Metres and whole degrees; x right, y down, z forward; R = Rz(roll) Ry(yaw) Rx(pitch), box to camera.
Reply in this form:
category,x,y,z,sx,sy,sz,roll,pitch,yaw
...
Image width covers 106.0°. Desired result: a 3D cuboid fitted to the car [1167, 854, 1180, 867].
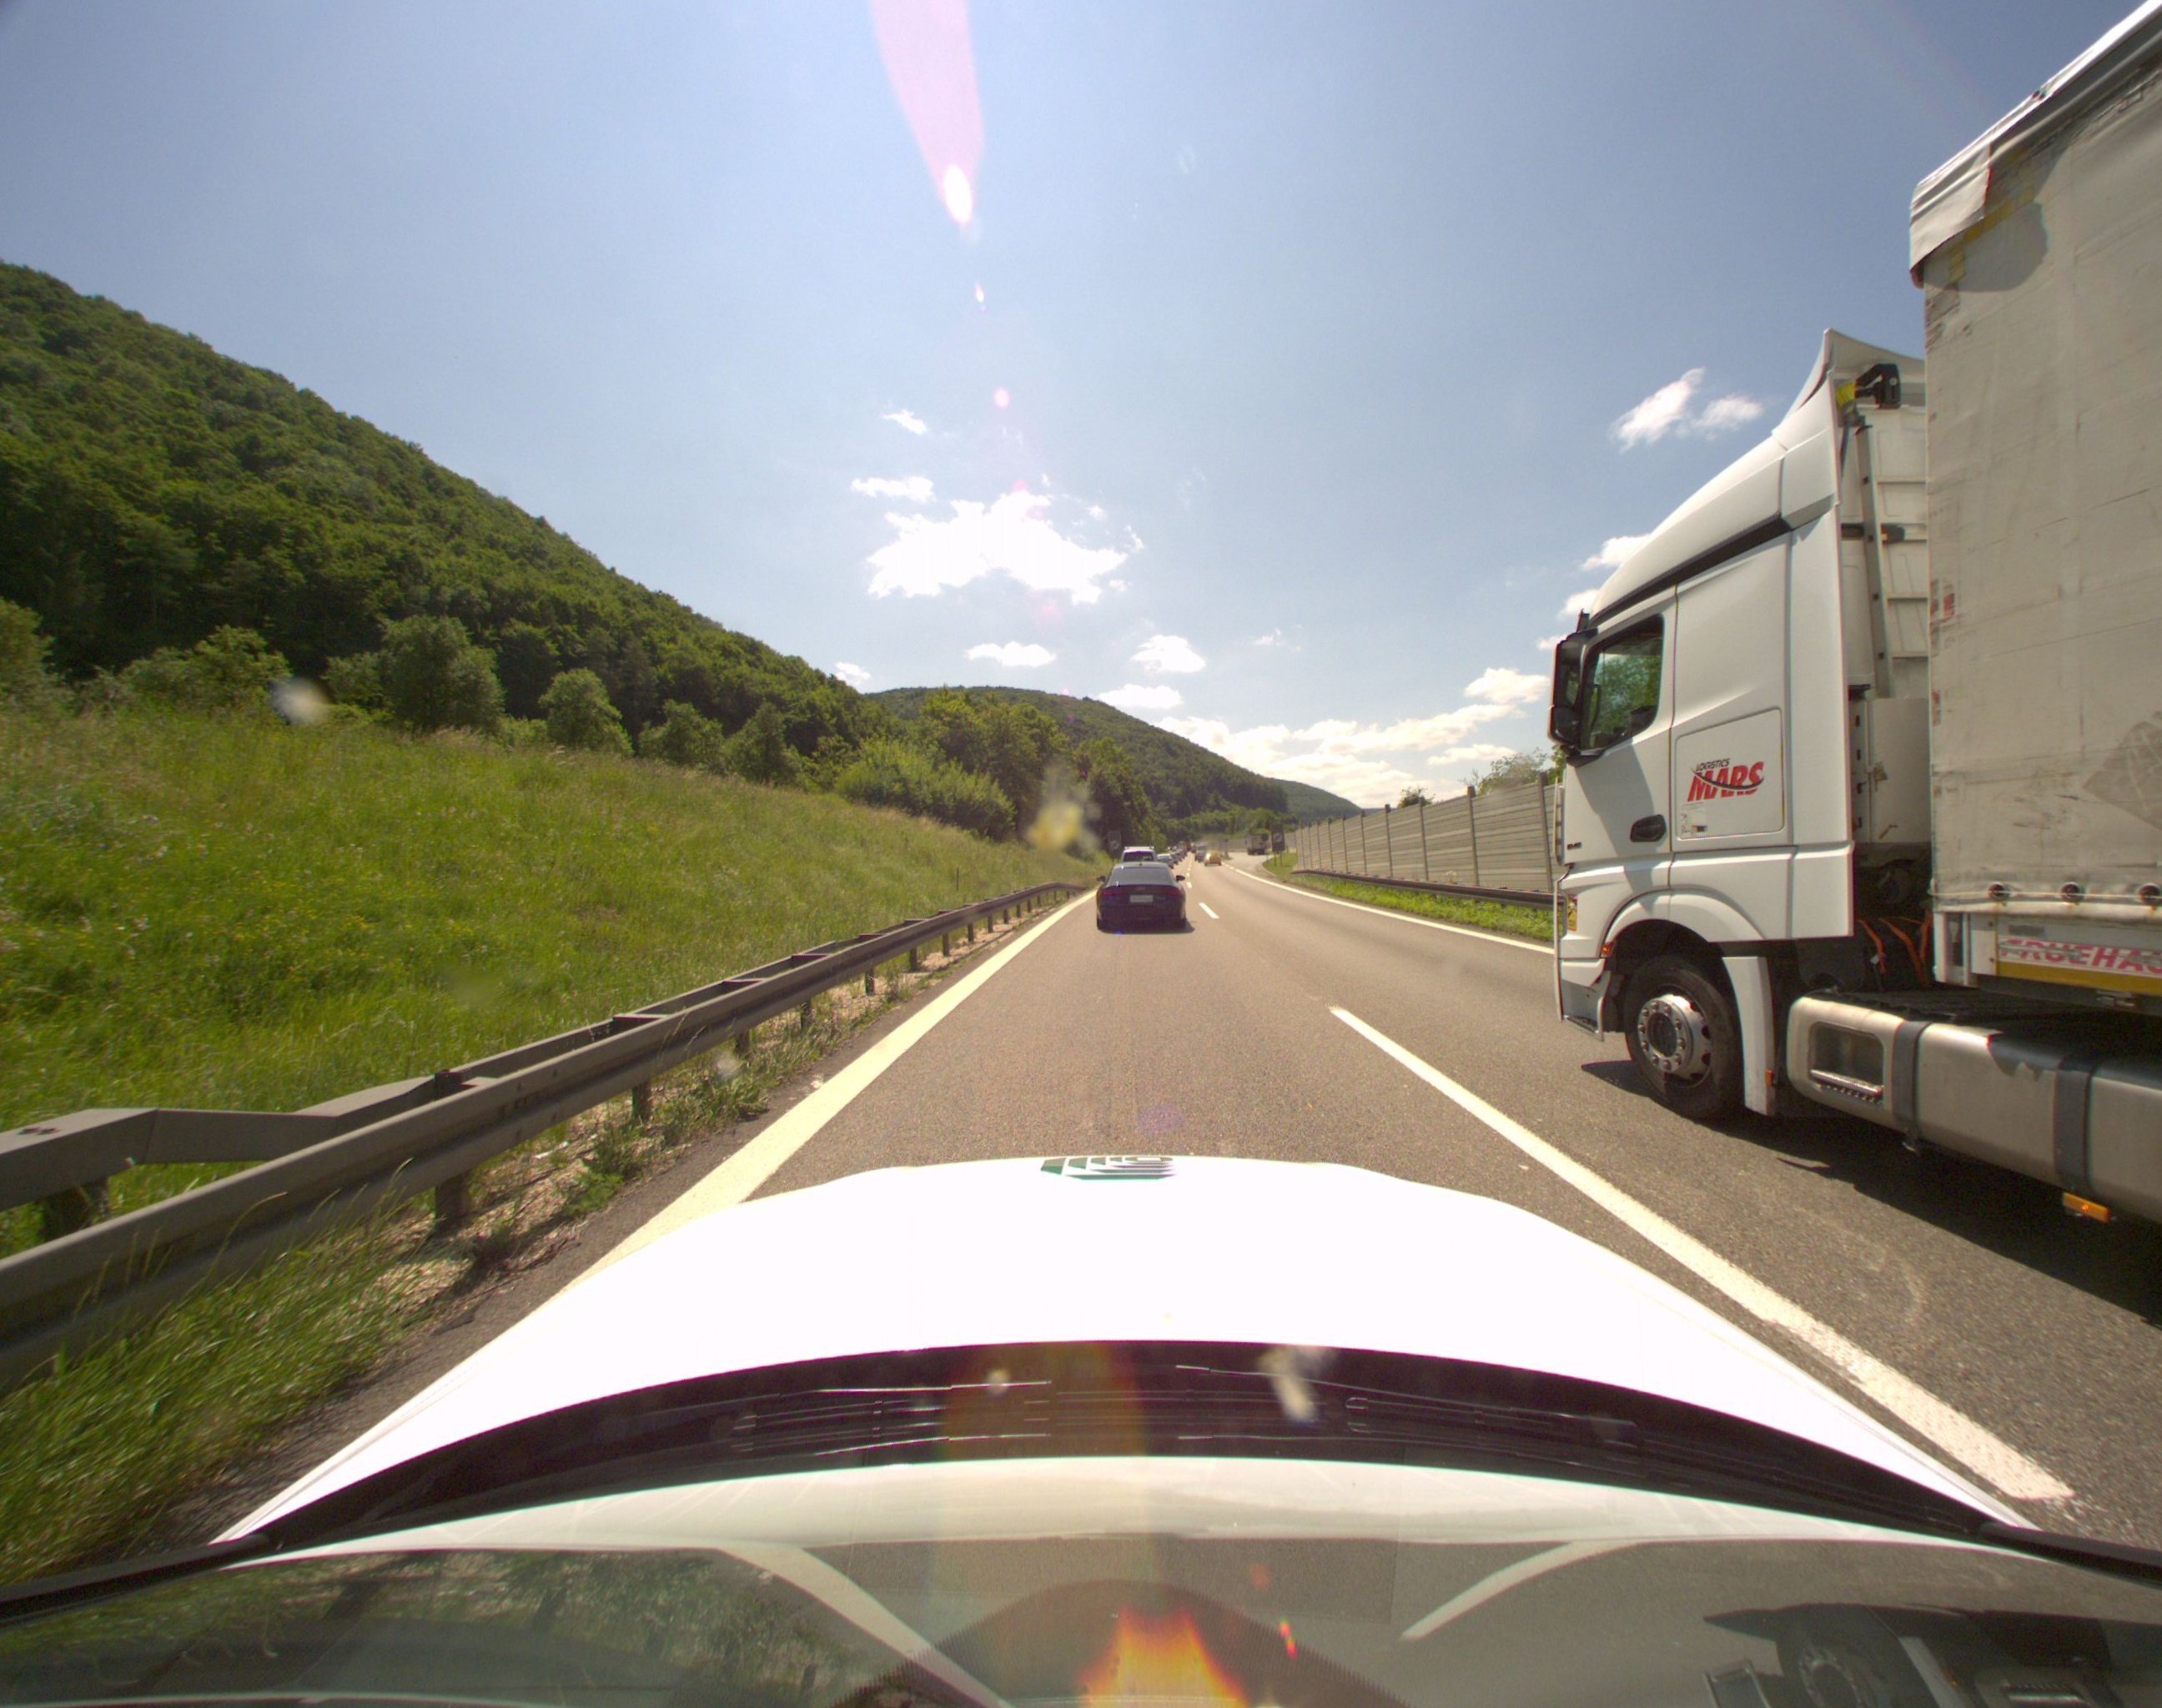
category,x,y,z,sx,sy,sz,roll,pitch,yaw
car,11.824,0.826,104.368,1.512,1.553,3.522,0,0,8

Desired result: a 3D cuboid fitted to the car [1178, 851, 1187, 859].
category,x,y,z,sx,sy,sz,roll,pitch,yaw
car,20.872,0.269,167.283,1.512,1.553,3.523,0,0,9

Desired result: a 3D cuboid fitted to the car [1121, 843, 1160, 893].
category,x,y,z,sx,sy,sz,roll,pitch,yaw
car,2.445,0.547,33.649,1.514,1.968,3.517,0,0,4

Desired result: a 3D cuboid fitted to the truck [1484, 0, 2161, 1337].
category,x,y,z,sx,sy,sz,roll,pitch,yaw
truck,4.511,-0.616,3.371,2.711,4.068,5.752,-1,-1,-1

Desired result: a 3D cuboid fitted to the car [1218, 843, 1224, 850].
category,x,y,z,sx,sy,sz,roll,pitch,yaw
car,42.044,-2.370,245.130,1.567,2.013,3.436,-2,0,8

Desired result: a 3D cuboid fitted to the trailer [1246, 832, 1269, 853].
category,x,y,z,sx,sy,sz,roll,pitch,yaw
trailer,33.812,-2.134,156.517,3.393,3.900,11.175,-2,0,8

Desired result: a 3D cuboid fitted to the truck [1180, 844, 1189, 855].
category,x,y,z,sx,sy,sz,roll,pitch,yaw
truck,26.812,-1.117,211.855,2.052,2.605,5.629,0,0,10

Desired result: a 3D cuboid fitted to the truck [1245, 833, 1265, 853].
category,x,y,z,sx,sy,sz,roll,pitch,yaw
truck,34.576,-2.158,162.387,3.393,3.900,5.399,-2,0,7

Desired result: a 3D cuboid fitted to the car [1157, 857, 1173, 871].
category,x,y,z,sx,sy,sz,roll,pitch,yaw
car,8.326,0.972,80.791,1.514,1.294,3.519,-1,0,5

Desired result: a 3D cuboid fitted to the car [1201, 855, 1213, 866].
category,x,y,z,sx,sy,sz,roll,pitch,yaw
car,16.905,0.865,109.652,1.521,1.525,3.605,0,-1,8

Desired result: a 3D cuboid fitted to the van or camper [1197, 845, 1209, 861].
category,x,y,z,sx,sy,sz,roll,pitch,yaw
van or camper,23.636,-0.149,157.887,2.416,3.155,5.215,0,-1,8

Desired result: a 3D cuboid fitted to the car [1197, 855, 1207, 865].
category,x,y,z,sx,sy,sz,roll,pitch,yaw
car,19.314,0.968,130.373,1.521,1.525,3.605,0,-1,8

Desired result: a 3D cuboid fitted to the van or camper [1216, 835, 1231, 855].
category,x,y,z,sx,sy,sz,roll,pitch,yaw
van or camper,29.129,-1.856,166.644,2.780,3.841,6.177,0,-1,6

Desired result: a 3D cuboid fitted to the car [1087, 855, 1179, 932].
category,x,y,z,sx,sy,sz,roll,pitch,yaw
car,1.235,0.800,17.943,1.803,1.514,3.520,-1,0,6

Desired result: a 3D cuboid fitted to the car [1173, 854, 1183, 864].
category,x,y,z,sx,sy,sz,roll,pitch,yaw
car,15.722,0.844,131.855,1.512,1.553,3.523,0,0,9

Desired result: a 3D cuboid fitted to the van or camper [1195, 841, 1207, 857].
category,x,y,z,sx,sy,sz,roll,pitch,yaw
van or camper,30.080,-1.225,204.198,2.780,3.907,6.177,0,-1,6

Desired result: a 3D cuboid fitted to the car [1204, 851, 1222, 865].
category,x,y,z,sx,sy,sz,roll,pitch,yaw
car,14.506,0.410,89.726,1.868,1.499,4.009,-2,0,8
